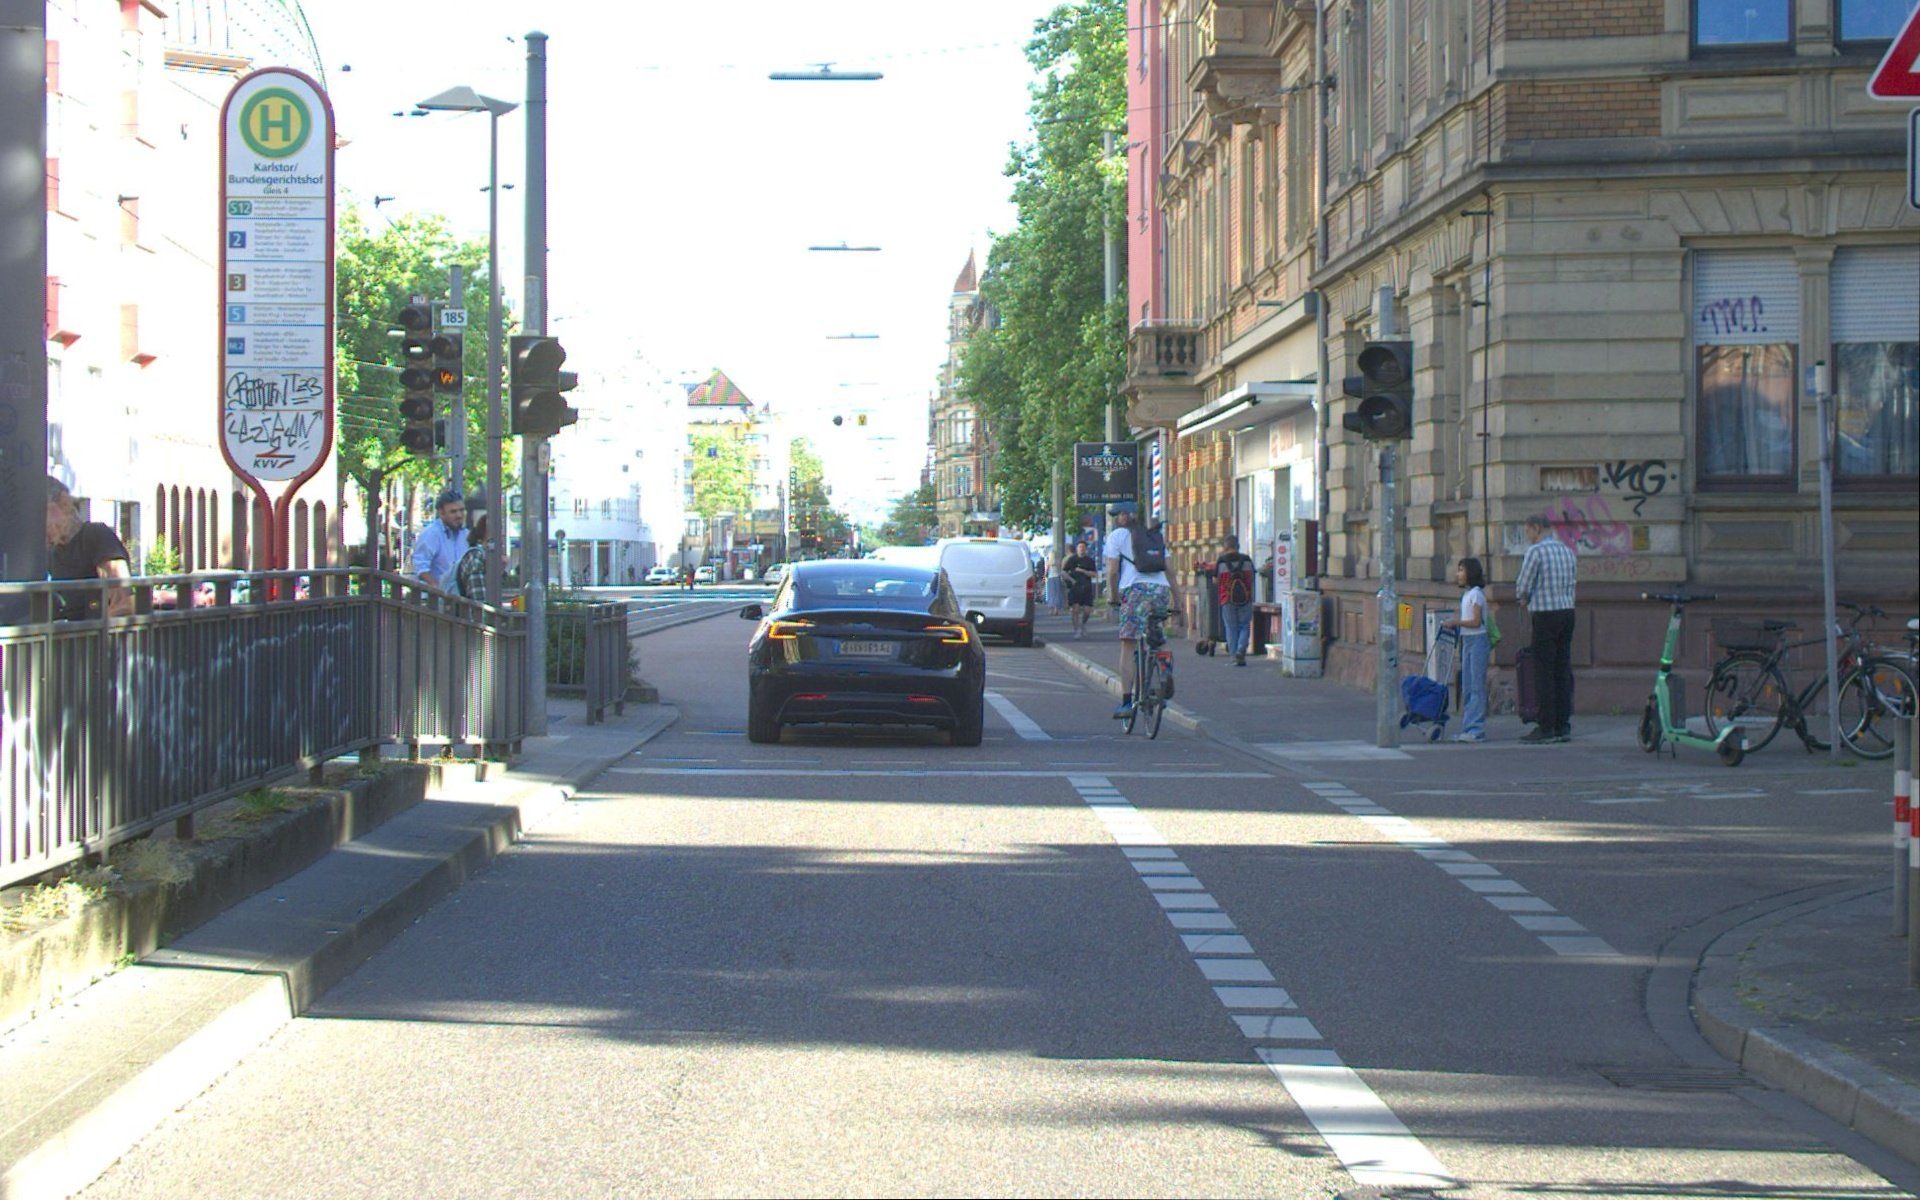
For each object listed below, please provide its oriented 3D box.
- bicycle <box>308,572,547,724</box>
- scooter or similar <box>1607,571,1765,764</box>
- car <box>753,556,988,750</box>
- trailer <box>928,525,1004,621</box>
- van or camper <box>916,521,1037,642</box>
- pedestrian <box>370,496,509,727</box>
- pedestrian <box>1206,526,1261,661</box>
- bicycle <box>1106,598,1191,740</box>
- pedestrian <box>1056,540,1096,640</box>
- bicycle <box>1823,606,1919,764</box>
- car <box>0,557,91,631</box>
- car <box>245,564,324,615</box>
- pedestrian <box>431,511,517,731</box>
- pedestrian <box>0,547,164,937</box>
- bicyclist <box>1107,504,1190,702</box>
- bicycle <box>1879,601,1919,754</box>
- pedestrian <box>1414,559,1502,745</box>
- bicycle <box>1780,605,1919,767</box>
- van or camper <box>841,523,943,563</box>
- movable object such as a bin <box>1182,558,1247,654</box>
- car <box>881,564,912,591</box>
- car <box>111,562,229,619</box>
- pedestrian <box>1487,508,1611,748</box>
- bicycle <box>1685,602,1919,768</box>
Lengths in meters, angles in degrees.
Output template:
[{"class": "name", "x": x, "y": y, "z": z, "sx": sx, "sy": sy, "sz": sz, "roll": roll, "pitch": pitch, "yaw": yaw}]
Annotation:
[{"class": "bicycle", "x": -4.303, "y": 0.378, "z": 27.731, "sx": 1.942, "sy": 1.090, "sz": 0.598, "roll": 4, "pitch": 1, "yaw": 33}, {"class": "scooter or similar", "x": 5.032, "y": 0.448, "z": 23.903, "sx": 0.390, "sy": 1.285, "sz": 1.523, "roll": 0, "pitch": 1, "yaw": -17}, {"class": "car", "x": -0.738, "y": 0.372, "z": 27.515, "sx": 1.719, "sy": 1.400, "sz": 3.710, "roll": 1, "pitch": 1, "yaw": -2}, {"class": "trailer", "x": 0.146, "y": -0.615, "z": 79.468, "sx": 1.661, "sy": 2.109, "sz": 3.842, "roll": 2, "pitch": 0, "yaw": 0}, {"class": "van or camper", "x": 0.249, "y": -0.318, "z": 61.842, "sx": 1.931, "sy": 2.030, "sz": 5.476, "roll": 2, "pitch": 0, "yaw": -2}, {"class": "pedestrian", "x": -4.185, "y": 0.088, "z": 27.664, "sx": 0.594, "sy": 1.815, "sz": 0.940, "roll": 2, "pitch": 1, "yaw": 32}, {"class": "pedestrian", "x": 3.547, "y": -0.088, "z": 44.566, "sx": 0.470, "sy": 1.722, "sz": 0.586, "roll": 0, "pitch": 2, "yaw": 35}, {"class": "bicycle", "x": 1.590, "y": 0.564, "z": 29.216, "sx": 0.647, "sy": 1.135, "sz": 2.095, "roll": 1, "pitch": 0, "yaw": 1}, {"class": "pedestrian", "x": 2.104, "y": -0.184, "z": 62.602, "sx": 0.672, "sy": 1.808, "sz": 0.756, "roll": 0, "pitch": 0, "yaw": -2}, {"class": "bicycle", "x": 7.085, "y": 0.613, "z": 24.625, "sx": 0.443, "sy": 1.111, "sz": 1.814, "roll": -1, "pitch": 1, "yaw": -42}, {"class": "car", "x": -19.054, "y": -0.143, "z": 69.472, "sx": 1.901, "sy": 1.453, "sz": 4.827, "roll": 0, "pitch": 1, "yaw": -2}, {"class": "car", "x": -19.758, "y": -0.313, "z": 100.691, "sx": 1.659, "sy": 1.417, "sz": 3.620, "roll": 2, "pitch": 1, "yaw": -1}, {"class": "pedestrian", "x": -3.612, "y": 0.149, "z": 25.542, "sx": 0.517, "sy": 1.585, "sz": 0.667, "roll": 3, "pitch": 0, "yaw": -11}, {"class": "pedestrian", "x": -3.075, "y": 0.480, "z": 11.936, "sx": 0.480, "sy": 1.325, "sz": 0.354, "roll": 0, "pitch": 1, "yaw": 29}, {"class": "bicyclist", "x": 1.598, "y": 0.020, "z": 29.259, "sx": 0.655, "sy": 1.650, "sz": 0.927, "roll": 1, "pitch": 0, "yaw": 1}, {"class": "bicycle", "x": 7.550, "y": 0.572, "z": 24.829, "sx": 0.443, "sy": 1.111, "sz": 1.814, "roll": -1, "pitch": 1, "yaw": -42}, {"class": "pedestrian", "x": 3.854, "y": 0.393, "z": 26.626, "sx": 0.574, "sy": 1.410, "sz": 0.581, "roll": 2, "pitch": 1, "yaw": 3}, {"class": "bicycle", "x": 6.697, "y": 0.603, "z": 24.355, "sx": 0.443, "sy": 1.111, "sz": 1.814, "roll": -1, "pitch": 1, "yaw": -41}, {"class": "van or camper", "x": -4.753, "y": -4.005, "z": 239.569, "sx": 6.857, "sy": 2.645, "sz": 2.147, "roll": -1, "pitch": 2, "yaw": -28}, {"class": "movable object such as a bin", "x": 3.613, "y": 0.084, "z": 48.891, "sx": 0.775, "sy": 1.343, "sz": 1.299, "roll": 0, "pitch": 0, "yaw": -3}, {"class": "car", "x": -3.375, "y": -1.192, "z": 183.490, "sx": 1.593, "sy": 1.428, "sz": 3.686, "roll": 0, "pitch": 0, "yaw": 0}, {"class": "car", "x": -19.618, "y": -0.268, "z": 85.570, "sx": 1.960, "sy": 1.321, "sz": 4.821, "roll": 2, "pitch": 1, "yaw": -2}, {"class": "pedestrian", "x": 4.492, "y": 0.198, "z": 26.263, "sx": 0.847, "sy": 1.801, "sz": 0.876, "roll": 0, "pitch": 2, "yaw": 4}, {"class": "bicycle", "x": 6.022, "y": 0.582, "z": 24.393, "sx": 0.443, "sy": 1.111, "sz": 1.814, "roll": -1, "pitch": 1, "yaw": -41}]
